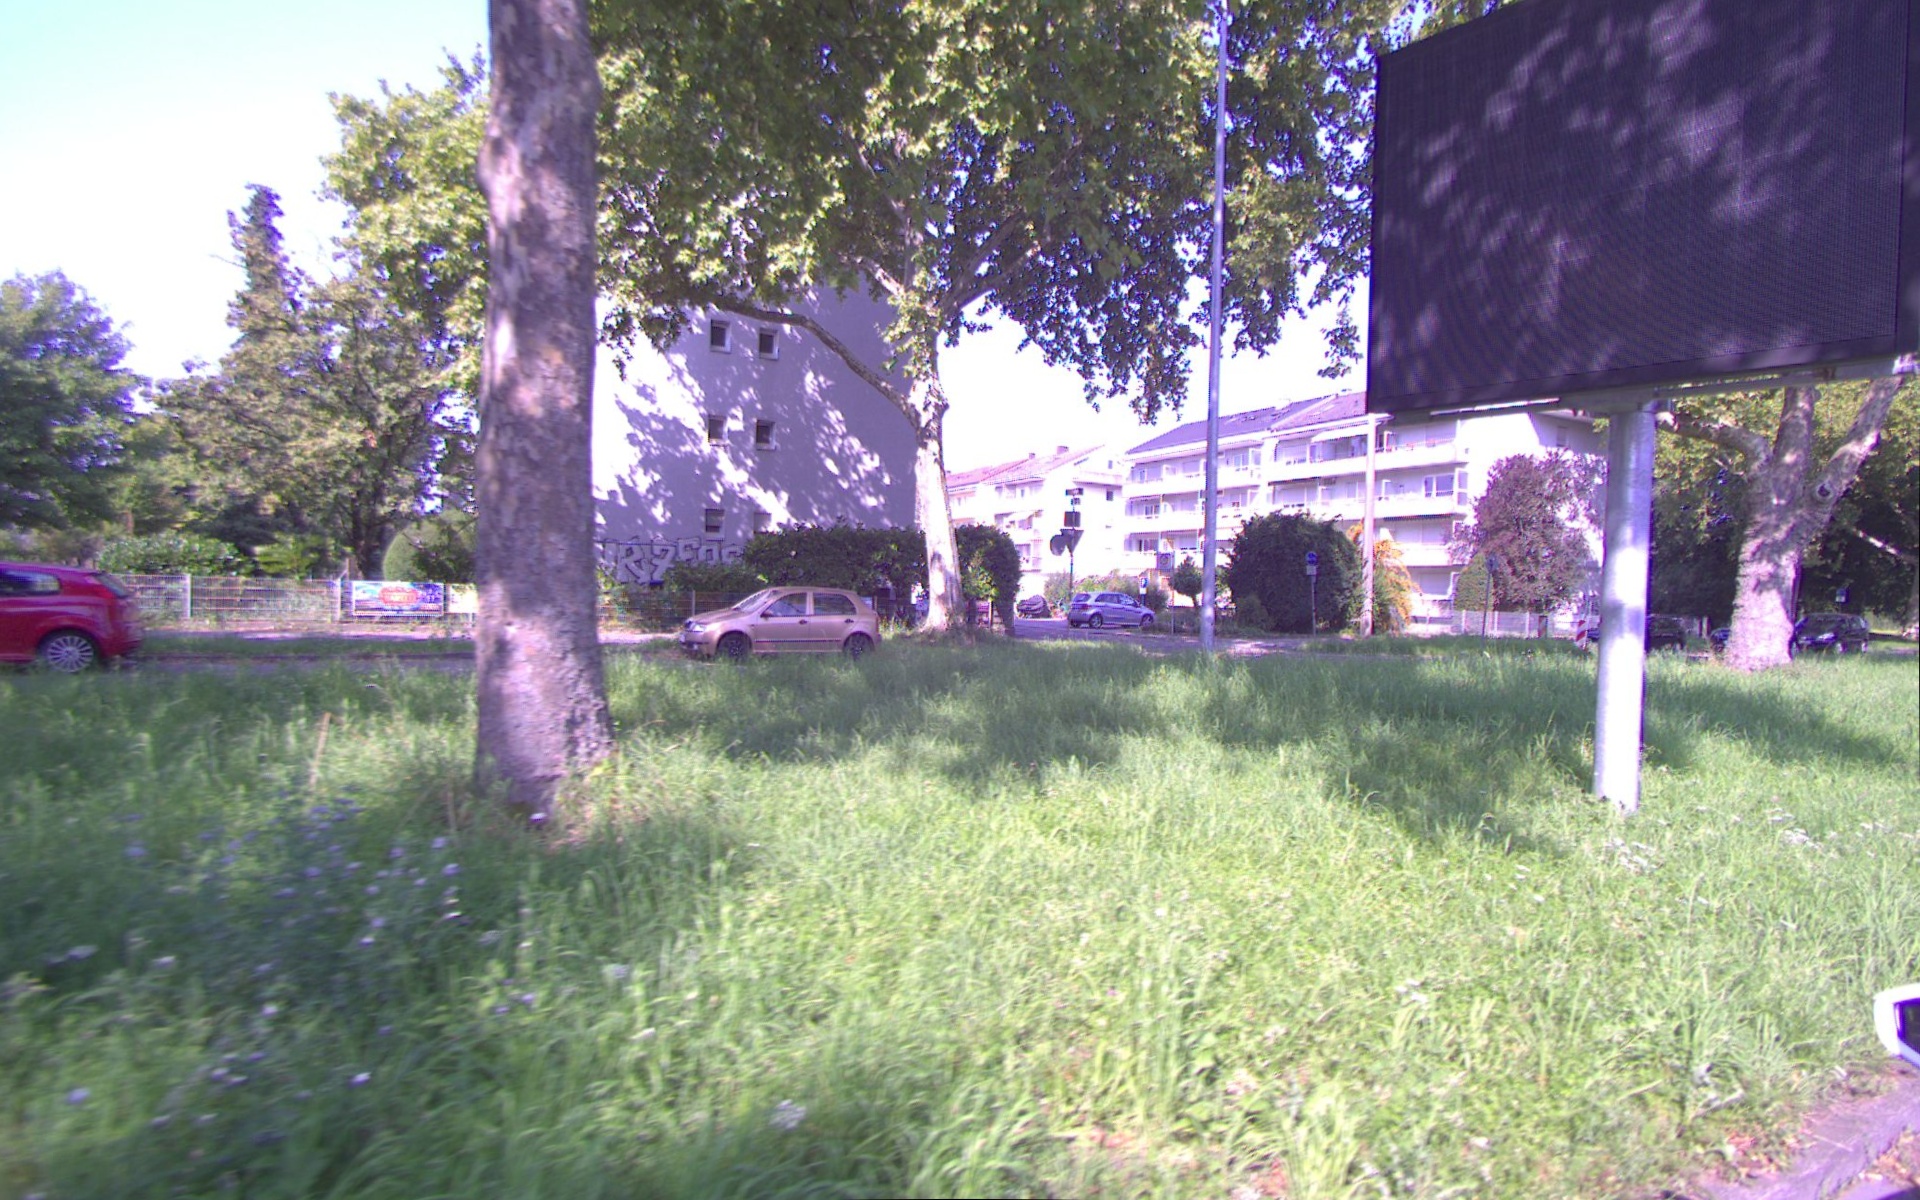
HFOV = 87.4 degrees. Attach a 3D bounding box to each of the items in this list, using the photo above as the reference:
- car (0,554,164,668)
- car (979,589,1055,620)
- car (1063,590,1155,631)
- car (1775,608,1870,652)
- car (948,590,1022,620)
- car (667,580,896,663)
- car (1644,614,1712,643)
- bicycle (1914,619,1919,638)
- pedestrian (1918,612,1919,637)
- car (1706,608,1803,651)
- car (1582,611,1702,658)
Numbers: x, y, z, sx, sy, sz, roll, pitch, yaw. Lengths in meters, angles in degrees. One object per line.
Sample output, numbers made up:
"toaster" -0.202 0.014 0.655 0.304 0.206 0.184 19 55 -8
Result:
"car" -13.360 0.103 13.426 4.014 1.471 1.532 2 1 -29
"car" 2.974 0.244 52.216 3.633 1.458 1.537 2 1 -26
"car" 6.589 0.467 44.443 3.694 1.648 1.605 2 1 -23
"car" 37.692 1.320 43.869 4.605 1.755 1.691 2 1 -30
"car" 1.334 0.267 53.879 3.633 1.458 1.537 2 1 -26
"car" -3.447 0.399 19.500 4.014 1.449 1.794 1 2 -29
"car" 47.092 1.891 65.864 4.330 1.749 1.691 2 1 -26
"bicycle" 65.055 1.932 67.687 2.733 1.215 0.541 2 1 -34
"pedestrian" 65.026 1.670 67.655 0.651 1.713 0.539 1 1 -34
"car" 31.553 1.192 39.880 3.953 1.589 1.691 2 1 -30
"car" 24.009 1.214 35.307 4.487 1.528 1.691 2 1 -30
